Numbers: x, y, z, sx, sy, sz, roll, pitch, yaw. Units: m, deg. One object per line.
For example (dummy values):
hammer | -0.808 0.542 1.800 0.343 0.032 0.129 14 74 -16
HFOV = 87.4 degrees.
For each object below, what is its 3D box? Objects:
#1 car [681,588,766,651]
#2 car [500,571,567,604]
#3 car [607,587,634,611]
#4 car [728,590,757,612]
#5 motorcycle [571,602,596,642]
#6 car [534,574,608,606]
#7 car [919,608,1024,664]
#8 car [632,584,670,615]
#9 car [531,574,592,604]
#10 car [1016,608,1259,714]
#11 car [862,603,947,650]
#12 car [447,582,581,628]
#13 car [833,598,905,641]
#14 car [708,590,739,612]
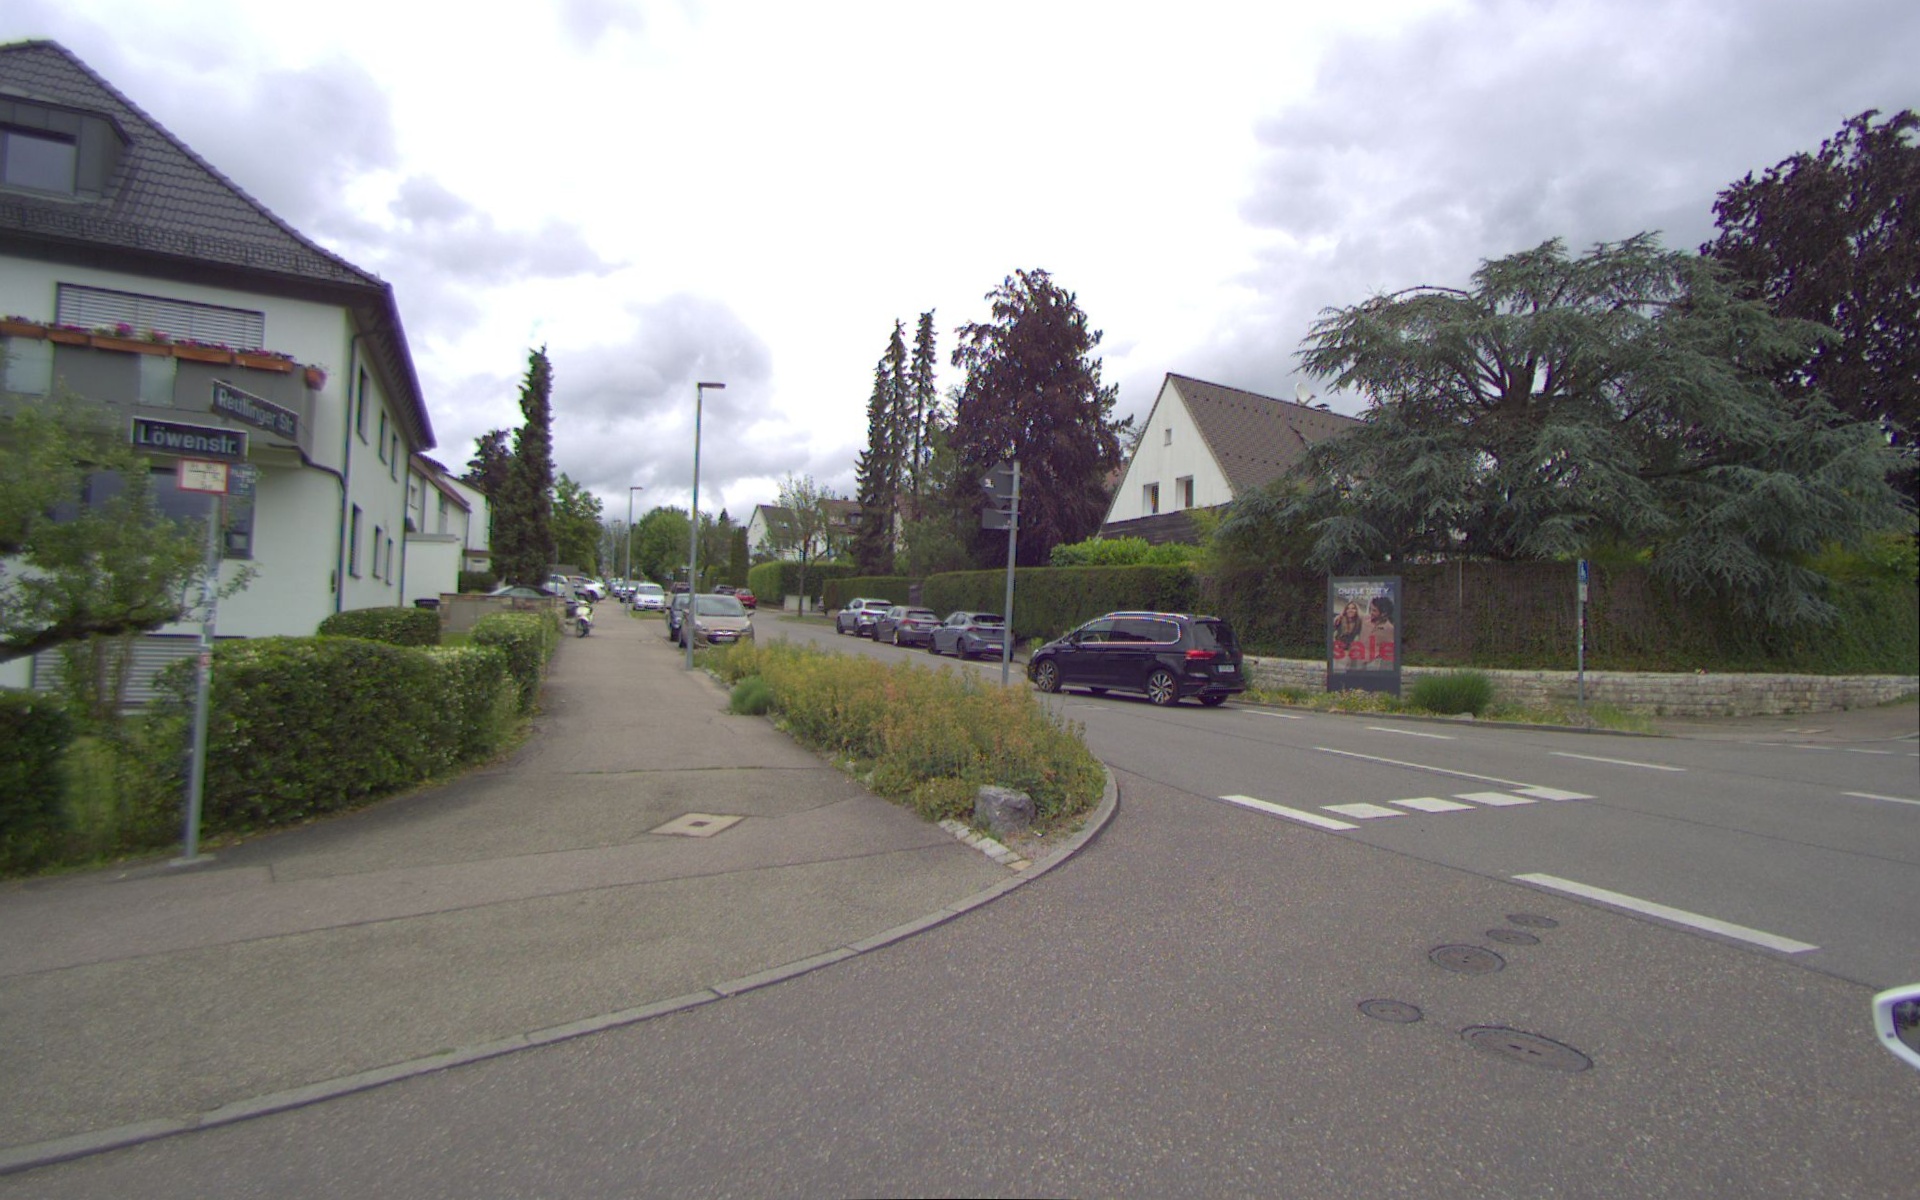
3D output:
car | -6.784 0.509 28.566 1.855 1.606 3.853 3 0 -20
car | -25.300 -0.735 59.698 3.389 1.598 1.649 5 -2 -20
car | -25.820 -0.103 76.330 1.815 1.689 4.388 1 1 -19
car | -16.798 0.041 77.501 1.641 1.528 3.740 3 0 -20
motorcycle | -11.460 0.648 30.600 0.423 1.176 1.858 2 -1 -12
car | -25.740 -0.681 66.557 4.363 1.650 1.901 6 -1 -22
car | 0.280 1.092 31.637 1.835 1.483 3.978 4 0 -22
car | -17.326 -0.058 56.247 1.740 1.584 3.836 2 1 -21
car | -24.981 -0.658 63.035 3.389 1.532 1.685 5 -2 -20
car | 3.280 1.078 19.182 1.841 1.633 4.255 3 0 -44
car | -2.107 0.933 37.138 1.835 1.483 4.149 4 0 -22
car | -16.015 0.179 36.161 4.244 1.386 1.891 3 0 -26
car | -3.887 0.785 42.469 1.835 1.603 4.149 4 0 -22
car | -20.455 0.052 86.685 1.970 1.639 4.492 5 -1 -20
